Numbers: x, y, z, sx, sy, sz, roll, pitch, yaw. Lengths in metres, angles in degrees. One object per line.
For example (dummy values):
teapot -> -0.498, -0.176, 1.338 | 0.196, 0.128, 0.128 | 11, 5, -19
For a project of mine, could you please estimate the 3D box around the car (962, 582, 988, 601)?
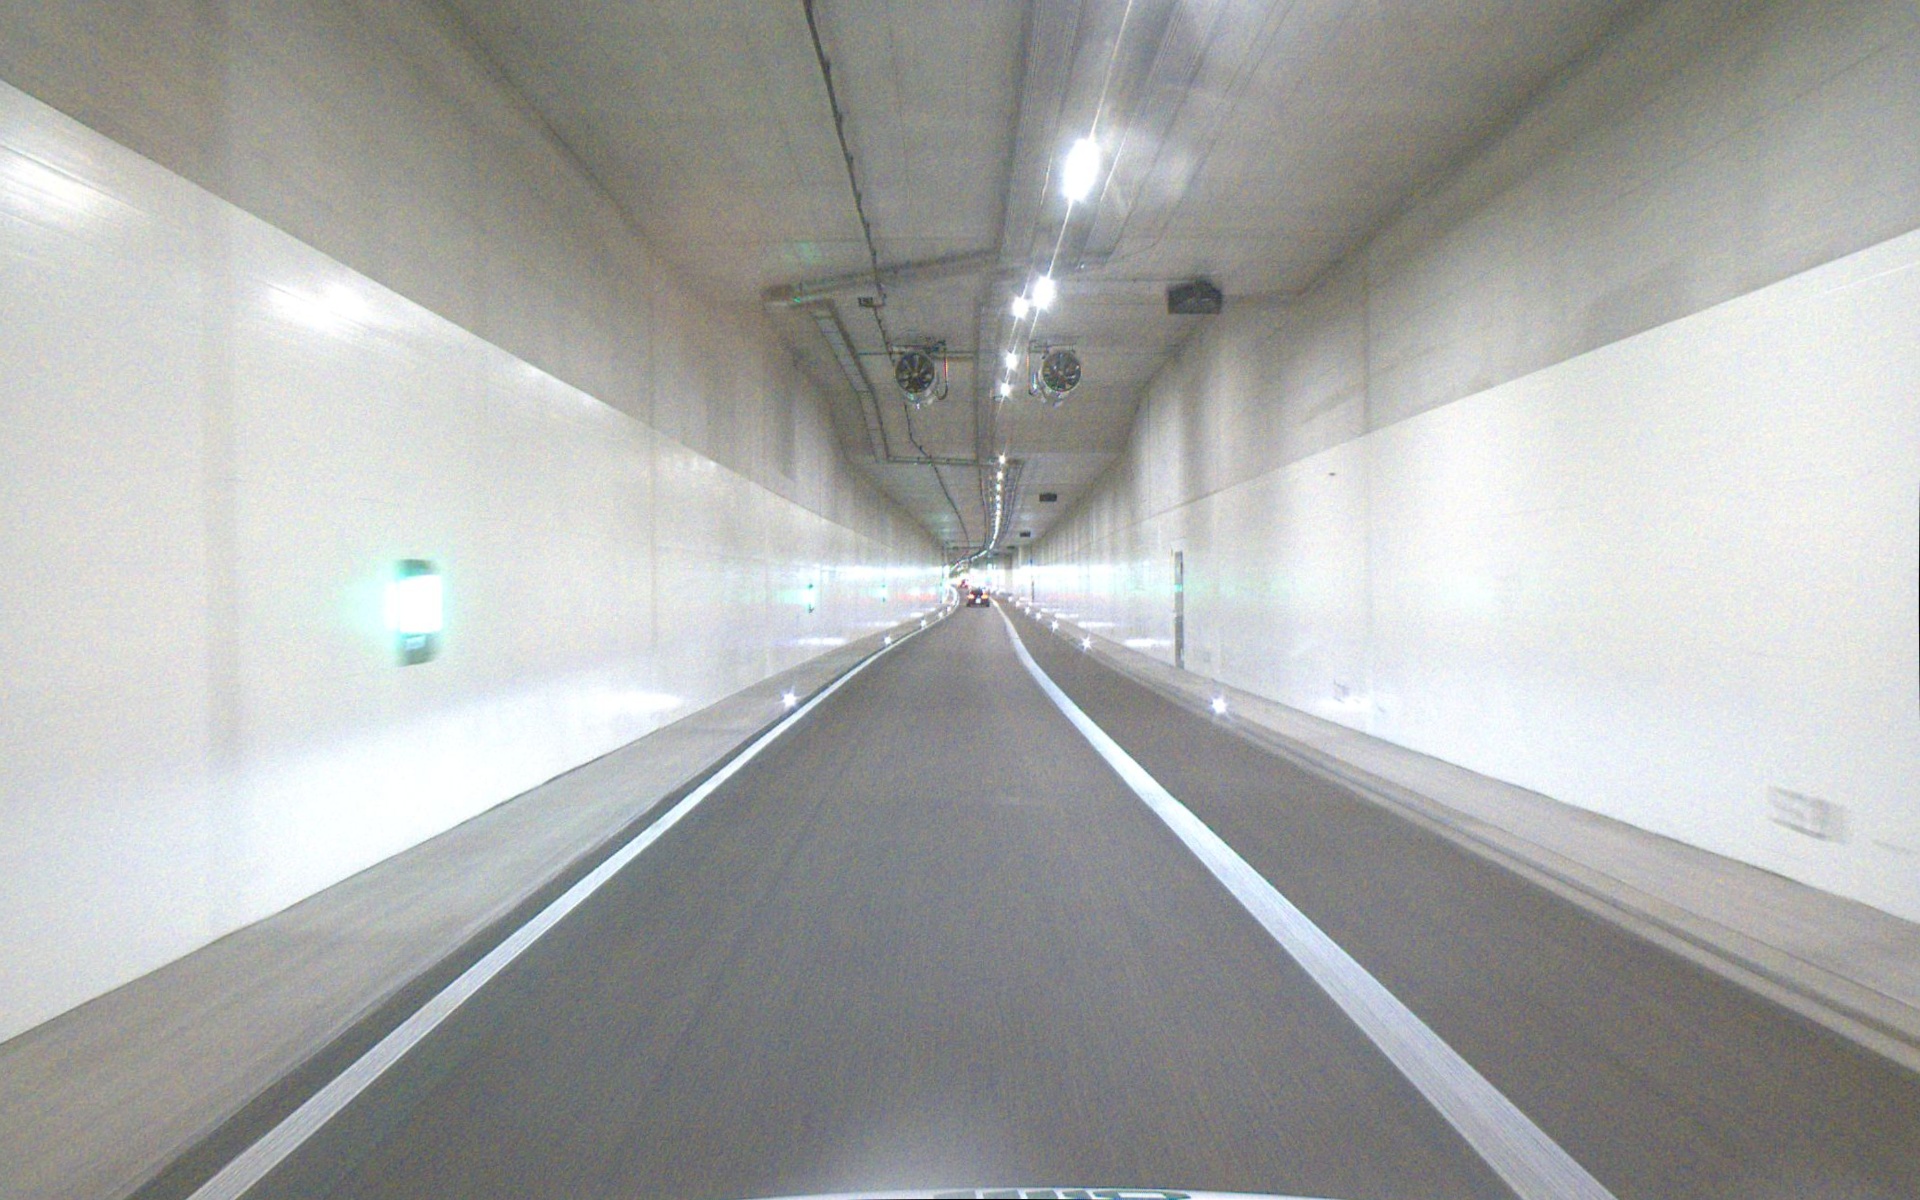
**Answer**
car -> 1.232, -0.698, 134.266 | 1.953, 1.445, 3.999 | 0, 1, -1
